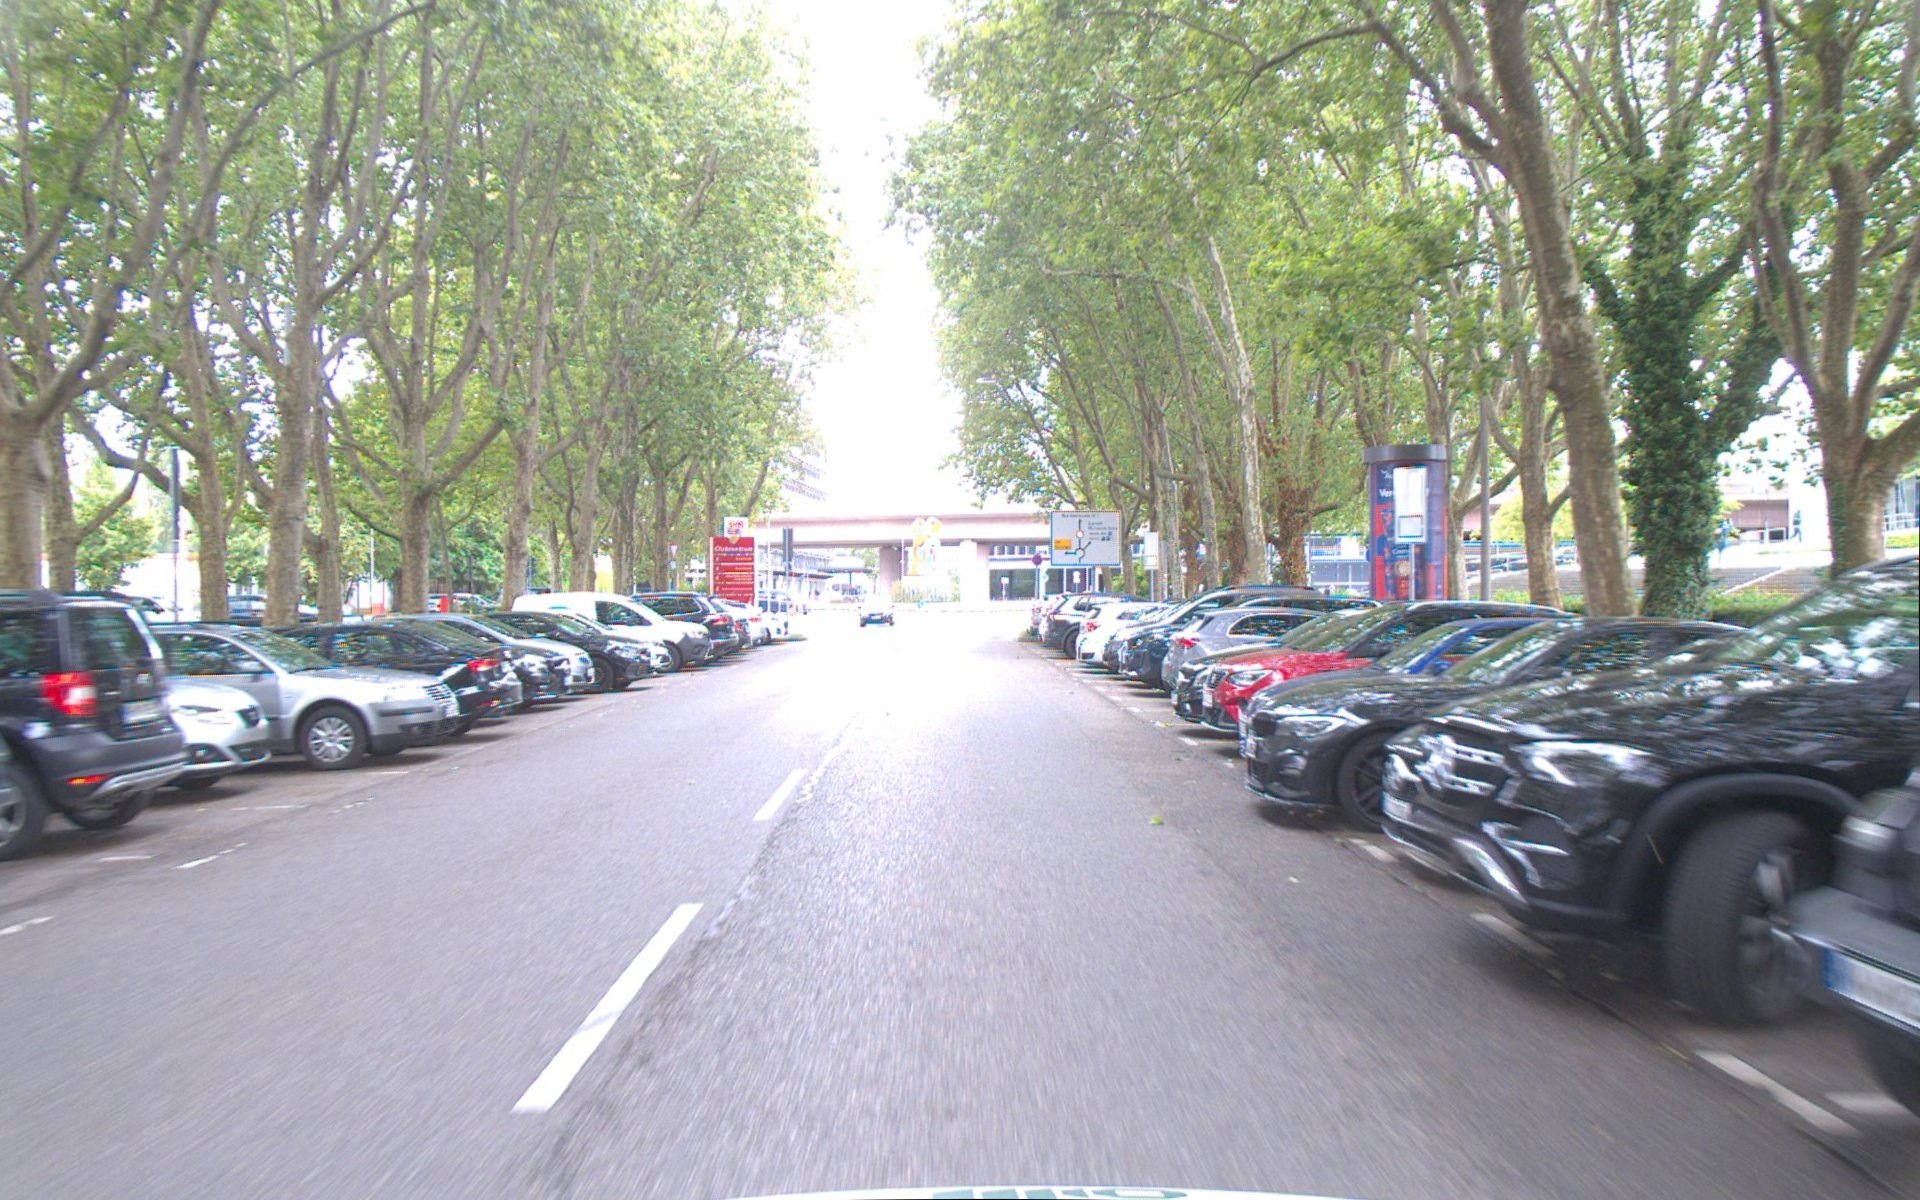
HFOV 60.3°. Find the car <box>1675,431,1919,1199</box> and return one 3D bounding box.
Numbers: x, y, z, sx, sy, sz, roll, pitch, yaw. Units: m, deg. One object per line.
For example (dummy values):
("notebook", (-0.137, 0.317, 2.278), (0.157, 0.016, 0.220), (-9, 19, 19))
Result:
("car", (4.386, 0.598, 4.020), (4.406, 1.899, 2.046), (1, 1, -4))

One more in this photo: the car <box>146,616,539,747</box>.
("car", (-7.940, 1.023, 21.589), (4.374, 1.390, 1.859), (-3, 0, -2))

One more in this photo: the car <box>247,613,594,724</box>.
("car", (-7.777, 0.970, 24.144), (4.371, 1.371, 1.902), (-2, 0, 1))

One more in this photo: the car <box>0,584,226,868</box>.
("car", (-7.264, 0.832, 11.070), (3.852, 1.738, 1.751), (-2, 0, -2))

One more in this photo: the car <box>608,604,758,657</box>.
("car", (-7.712, 0.853, 46.294), (3.906, 1.429, 1.885), (0, 0, -2))

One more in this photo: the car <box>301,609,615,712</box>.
("car", (-7.900, 0.931, 26.336), (4.373, 1.393, 1.879), (-2, 0, -1))

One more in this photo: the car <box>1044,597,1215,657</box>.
("car", (4.457, 0.705, 43.928), (4.259, 1.481, 1.949), (1, 1, -2))

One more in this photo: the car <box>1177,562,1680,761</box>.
("car", (4.600, 0.584, 16.634), (4.410, 1.828, 2.044), (1, 1, -7))

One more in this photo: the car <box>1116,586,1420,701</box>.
("car", (4.821, 0.655, 26.351), (4.496, 1.668, 1.873), (1, 1, 1))

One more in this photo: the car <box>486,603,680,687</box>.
("car", (-7.638, 0.893, 33.736), (3.715, 1.497, 1.760), (-2, 0, -12))

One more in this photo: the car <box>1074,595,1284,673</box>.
("car", (4.433, 0.683, 33.871), (4.064, 1.483, 1.727), (1, 0, 0))

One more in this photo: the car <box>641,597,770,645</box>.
("car", (-8.279, 0.691, 54.049), (3.912, 1.520, 1.832), (0, 0, -1))

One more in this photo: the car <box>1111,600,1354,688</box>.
("car", (4.713, 0.754, 28.973), (3.958, 1.404, 1.744), (1, 1, 0))

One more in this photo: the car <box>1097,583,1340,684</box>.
("car", (4.848, 0.607, 31.360), (4.259, 1.776, 1.836), (1, 1, -3))

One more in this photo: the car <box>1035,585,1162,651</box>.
("car", (4.465, 0.565, 53.780), (3.905, 2.049, 2.000), (1, 0, 0))

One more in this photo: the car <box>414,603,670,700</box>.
("car", (-7.196, 0.875, 28.695), (3.896, 1.445, 1.756), (-3, 0, 2))

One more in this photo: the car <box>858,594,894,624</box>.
("car", (-4.407, 0.492, 86.912), (1.805, 1.536, 4.013), (0, 0, -2))

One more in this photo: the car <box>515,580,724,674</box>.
("car", (-7.439, 0.565, 36.438), (4.233, 1.841, 1.866), (-2, 0, -4))

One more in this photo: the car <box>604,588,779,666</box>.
("car", (-6.994, 0.676, 43.416), (4.229, 1.841, 1.867), (-2, 0, -1))

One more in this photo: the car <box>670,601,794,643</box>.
("car", (-7.759, 0.748, 56.587), (3.910, 1.409, 1.912), (0, 0, 3))

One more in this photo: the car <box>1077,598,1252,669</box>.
("car", (4.451, 0.728, 36.355), (3.567, 1.452, 1.664), (1, 1, -4))

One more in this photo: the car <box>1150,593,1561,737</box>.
("car", (4.518, 0.727, 19.273), (4.263, 1.528, 1.923), (1, 1, -6))

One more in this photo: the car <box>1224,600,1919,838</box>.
("car", (4.217, 0.771, 11.642), (4.403, 1.453, 1.932), (1, 0, 0))

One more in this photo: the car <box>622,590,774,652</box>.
("car", (-7.701, 0.603, 48.918), (4.179, 1.575, 1.907), (-3, 0, -3))

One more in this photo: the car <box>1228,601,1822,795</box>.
("car", (4.617, 0.772, 14.012), (4.402, 1.444, 1.829), (1, 0, 1))

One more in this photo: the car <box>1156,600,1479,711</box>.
("car", (5.084, 0.776, 23.969), (4.257, 1.438, 1.925), (1, 1, 0))

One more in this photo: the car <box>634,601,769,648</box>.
("car", (-8.029, 0.754, 51.654), (3.906, 1.430, 1.861), (0, 0, -1))

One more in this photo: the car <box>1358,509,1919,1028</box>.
("car", (4.140, 0.619, 6.961), (4.404, 1.828, 2.047), (1, 1, -1))

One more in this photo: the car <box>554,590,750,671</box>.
("car", (-7.189, 0.700, 38.957), (4.229, 1.826, 2.036), (0, 0, -1))

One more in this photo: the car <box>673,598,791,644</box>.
("car", (-8.105, 0.748, 58.995), (3.911, 1.567, 1.805), (0, 0, 1))

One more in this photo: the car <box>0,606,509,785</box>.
("car", (-6.934, 0.902, 16.500), (4.373, 1.508, 1.702), (-2, 0, -2))

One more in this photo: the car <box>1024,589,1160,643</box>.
("car", (4.271, 0.509, 53.916), (4.257, 1.662, 1.925), (1, 1, 0))

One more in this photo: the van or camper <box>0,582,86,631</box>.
("van or camper", (-34.741, 0.234, 60.626), (4.233, 1.739, 2.131), (0, 0, -2))

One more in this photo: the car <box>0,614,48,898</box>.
("car", (-7.163, 0.923, 8.557), (3.852, 1.542, 1.728), (-2, 0, -2))

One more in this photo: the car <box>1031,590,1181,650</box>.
("car", (4.279, 0.582, 49.074), (4.257, 1.662, 1.925), (1, 1, 0))

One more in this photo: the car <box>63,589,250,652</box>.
("car", (-22.795, 0.571, 47.057), (4.233, 1.739, 2.131), (0, 0, -2))

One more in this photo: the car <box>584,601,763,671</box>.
("car", (-7.118, 0.885, 41.399), (4.044, 1.477, 2.014), (-3, 0, 1))

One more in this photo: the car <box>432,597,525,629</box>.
("car", (-23.513, 0.637, 80.879), (3.905, 1.549, 2.001), (0, 0, 0))

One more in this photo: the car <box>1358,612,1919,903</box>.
("car", (4.381, 0.817, 9.243), (3.901, 1.415, 1.739), (1, 0, 1))

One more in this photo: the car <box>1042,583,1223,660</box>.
("car", (4.269, 0.532, 41.445), (4.259, 1.791, 1.925), (1, 0, -2))

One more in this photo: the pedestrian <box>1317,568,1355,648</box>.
("pedestrian", (9.648, 0.210, 42.457), (0.772, 2.049, 0.596), (1, -1, -17))

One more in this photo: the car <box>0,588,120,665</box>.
("car", (-22.908, 0.612, 39.548), (4.427, 1.793, 2.296), (0, 0, -2))

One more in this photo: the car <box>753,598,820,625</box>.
("car", (-13.508, 0.859, 128.844), (4.669, 2.049, 2.284), (0, 0, 21))

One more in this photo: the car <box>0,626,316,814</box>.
("car", (-7.765, 1.002, 14.011), (3.852, 1.388, 1.826), (-2, 0, -2))

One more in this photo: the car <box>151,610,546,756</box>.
("car", (-6.901, 0.911, 18.963), (3.852, 1.422, 1.702), (-2, 0, -2))

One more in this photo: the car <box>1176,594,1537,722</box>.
("car", (5.126, 0.727, 21.767), (4.258, 1.528, 1.925), (1, 1, -2))

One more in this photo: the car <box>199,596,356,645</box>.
("car", (-22.376, 0.664, 54.343), (4.233, 1.575, 2.203), (0, 0, -2))
